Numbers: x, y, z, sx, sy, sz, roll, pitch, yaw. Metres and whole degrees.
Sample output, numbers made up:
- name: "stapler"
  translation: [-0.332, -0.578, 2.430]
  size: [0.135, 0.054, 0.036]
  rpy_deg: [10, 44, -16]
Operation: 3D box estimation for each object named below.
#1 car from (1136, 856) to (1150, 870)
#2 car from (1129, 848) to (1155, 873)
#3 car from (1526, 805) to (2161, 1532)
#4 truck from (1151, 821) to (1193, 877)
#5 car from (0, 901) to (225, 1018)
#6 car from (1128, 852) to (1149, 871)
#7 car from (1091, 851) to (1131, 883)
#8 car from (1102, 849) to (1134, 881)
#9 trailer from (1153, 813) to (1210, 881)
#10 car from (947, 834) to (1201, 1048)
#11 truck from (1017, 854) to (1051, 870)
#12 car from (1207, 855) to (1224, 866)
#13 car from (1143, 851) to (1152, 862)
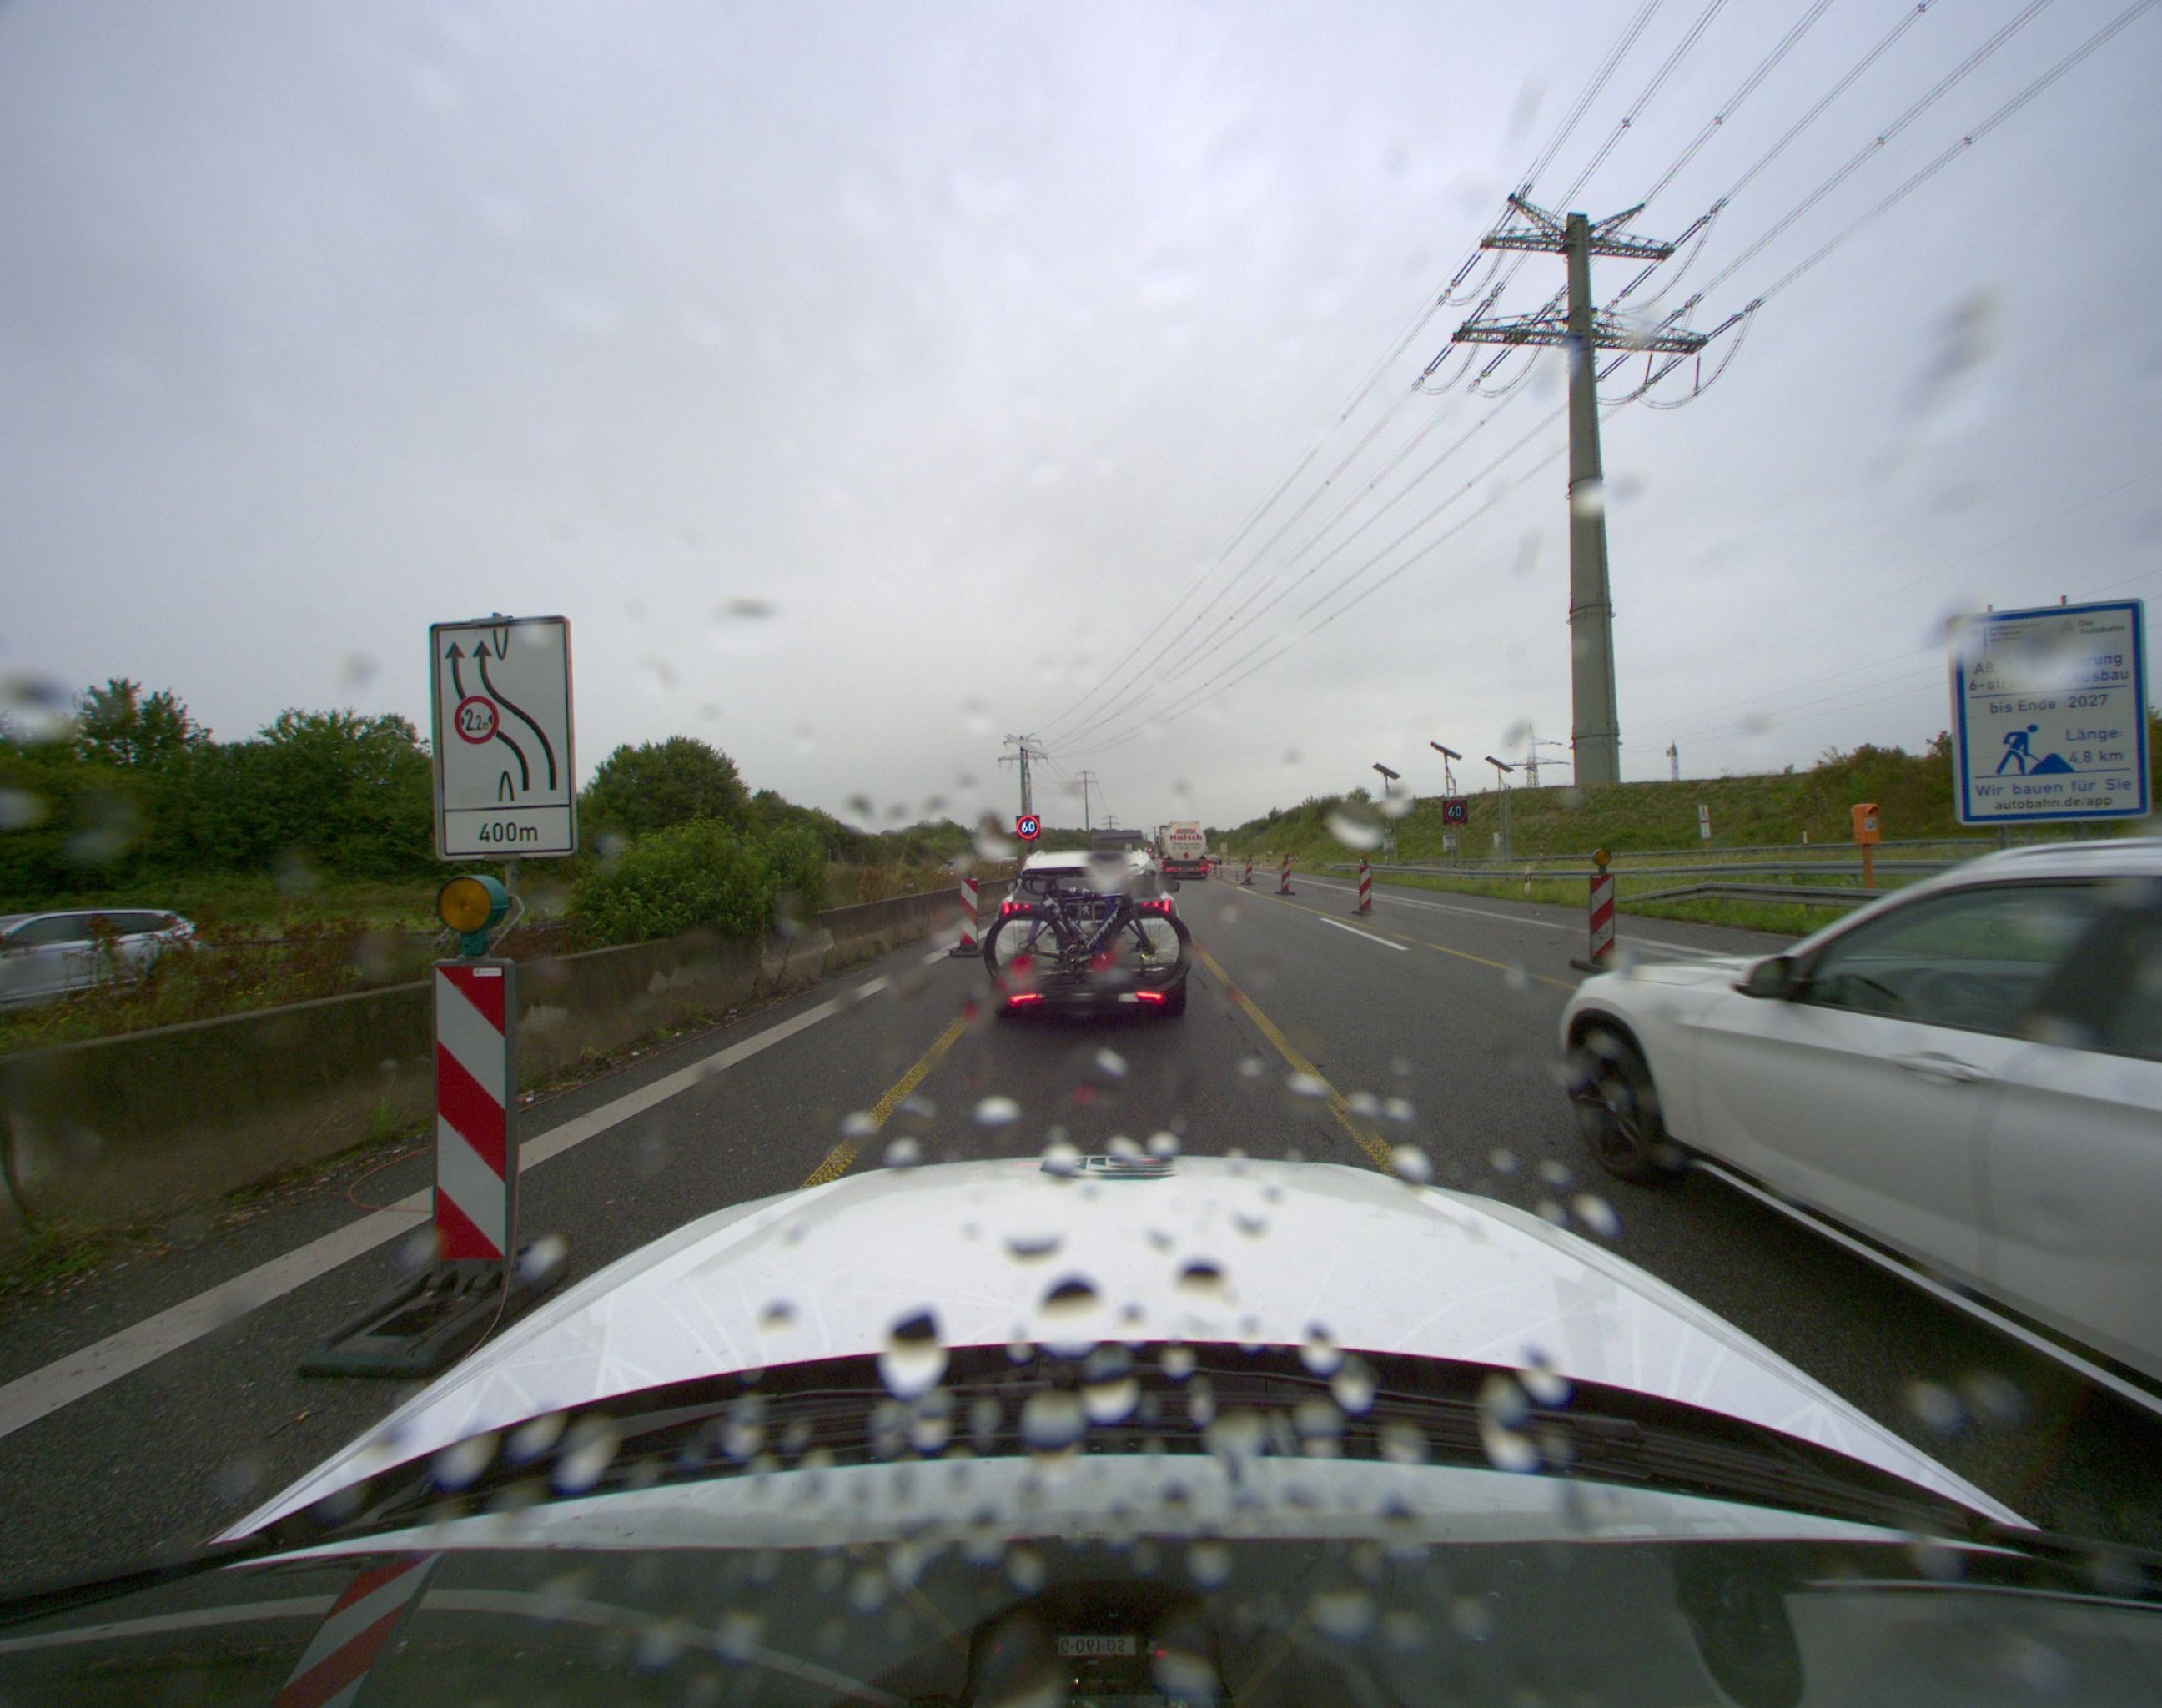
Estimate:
- name: "car"
  translation: [9.528, 1.388, 125.976]
  size: [1.986, 2.014, 4.001]
  rpy_deg: [0, -1, 2]
- name: "car"
  translation: [5.285, 0.528, 70.967]
  size: [1.986, 2.013, 4.002]
  rpy_deg: [-3, 0, 2]
- name: "car"
  translation: [3.237, 0.642, 2.305]
  size: [1.862, 1.535, 4.201]
  rpy_deg: [-1, 0, 4]
- name: "truck"
  translation: [6.488, -0.307, 58.649]
  size: [2.635, 3.891, 4.031]
  rpy_deg: [0, -1, 2]
- name: "car"
  translation: [-16.485, 1.648, 12.597]
  size: [1.985, 1.479, 4.112]
  rpy_deg: [-2, 0, 3]
- name: "car"
  translation: [6.017, 0.781, 85.579]
  size: [1.986, 2.014, 4.001]
  rpy_deg: [0, -1, 2]
- name: "car"
  translation: [1.571, 0.647, 42.783]
  size: [1.986, 1.584, 4.002]
  rpy_deg: [-1, 0, 2]
- name: "car"
  translation: [2.520, 0.749, 55.698]
  size: [1.986, 2.013, 4.002]
  rpy_deg: [-3, 0, 2]
- name: "trailer"
  translation: [6.271, -0.368, 52.123]
  size: [2.628, 3.893, 10.547]
  rpy_deg: [0, -1, 2]
- name: "car"
  translation: [0.107, 0.672, 8.503]
  size: [1.919, 1.611, 4.600]
  rpy_deg: [-1, 0, 4]
- name: "truck"
  translation: [-8.064, 1.370, 140.109]
  size: [1.974, 2.428, 6.475]
  rpy_deg: [-2, 0, 37]
- name: "car"
  translation: [16.151, 0.789, 97.930]
  size: [1.477, 1.161, 3.908]
  rpy_deg: [-3, -1, 2]
- name: "car"
  translation: [12.674, 0.496, 155.175]
  size: [1.645, 2.013, 4.007]
  rpy_deg: [-1, 0, 6]
